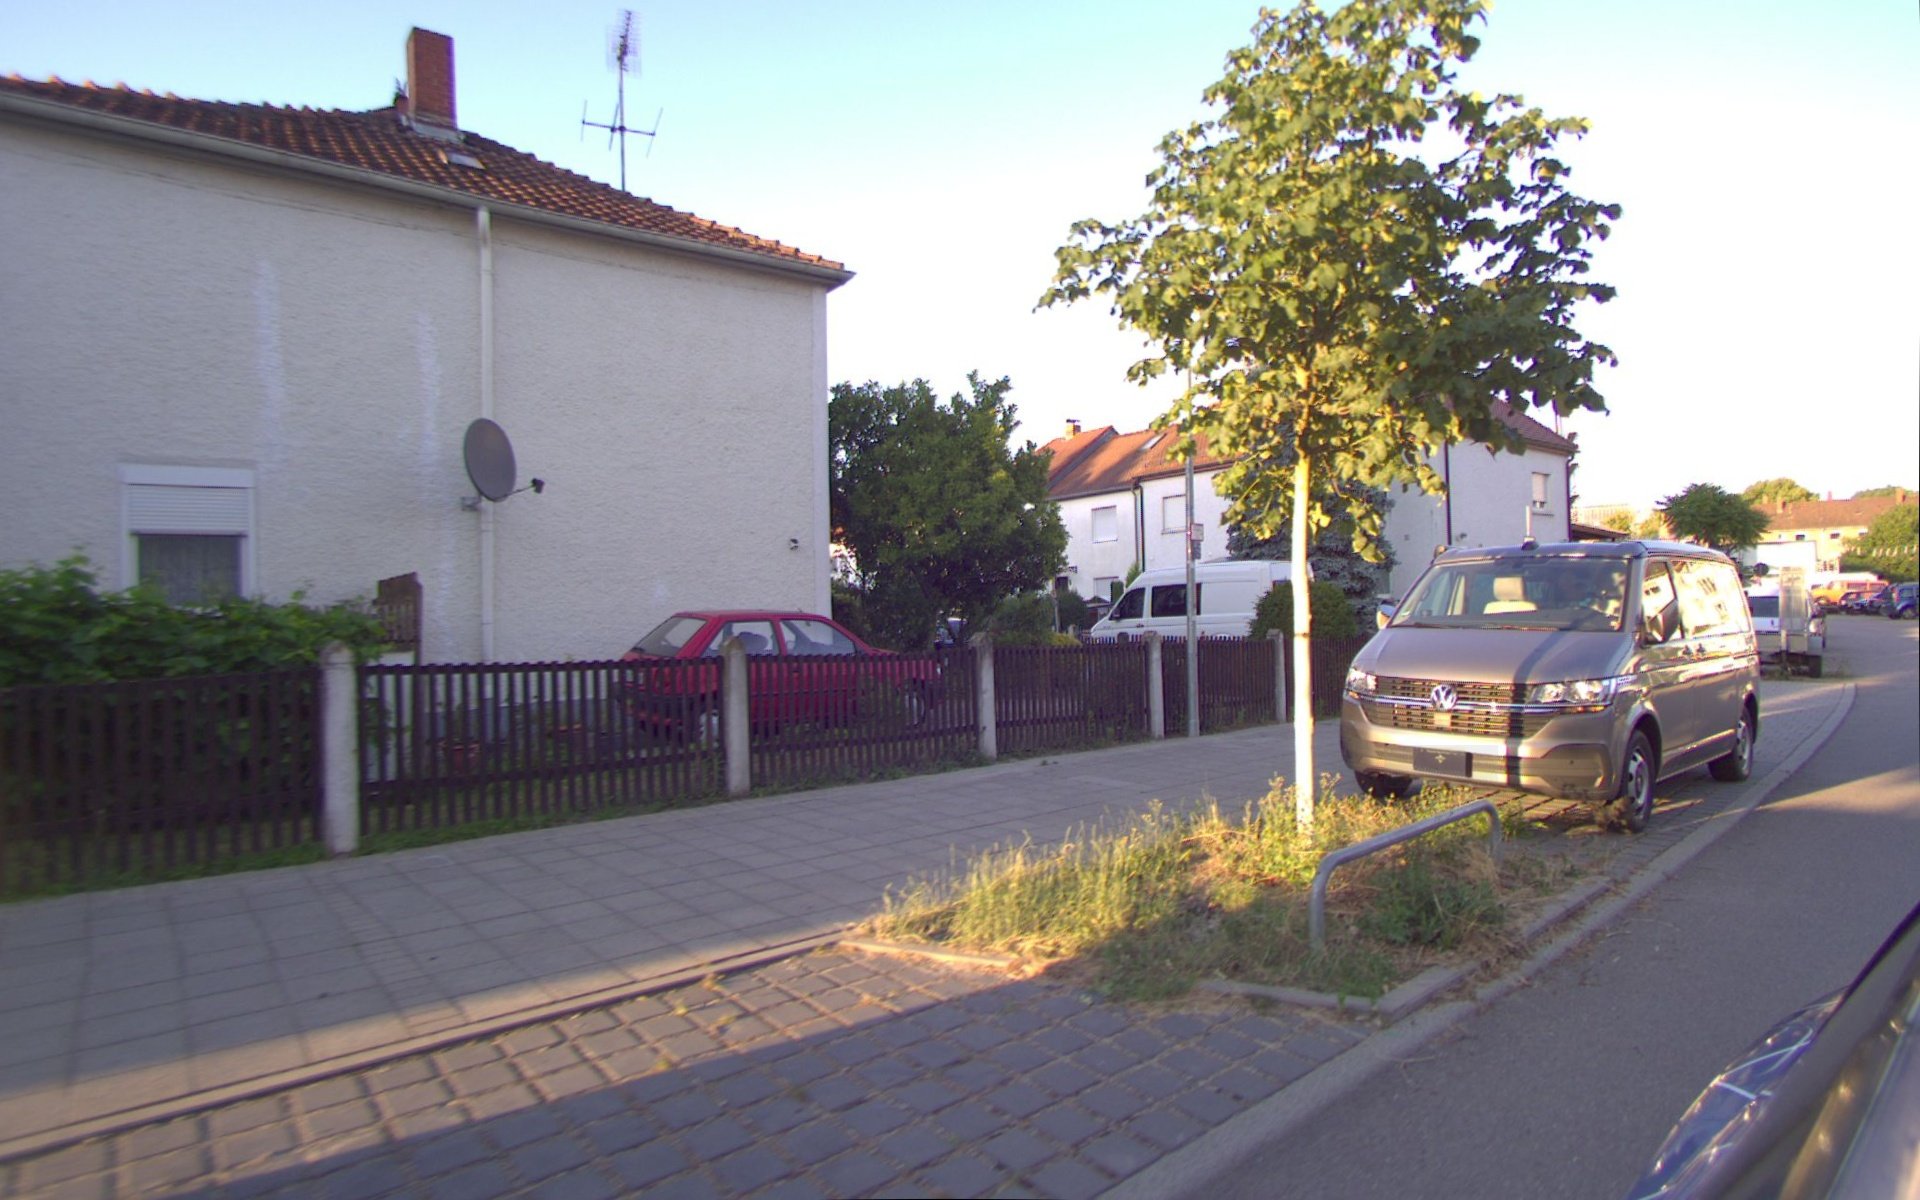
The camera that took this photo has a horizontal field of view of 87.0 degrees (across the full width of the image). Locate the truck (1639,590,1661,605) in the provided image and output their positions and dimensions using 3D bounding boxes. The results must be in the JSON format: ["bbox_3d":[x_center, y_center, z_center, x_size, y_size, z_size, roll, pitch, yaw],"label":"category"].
[{"bbox_3d":[100.270,-0.365,147.106,1.822,2.128,3.711,-4,-2,23],"label":"truck"}]

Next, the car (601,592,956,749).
[{"bbox_3d":[-1.929,0.660,11.210,3.573,1.462,1.532,-1,0,-38],"label":"car"}]

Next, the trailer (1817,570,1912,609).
[{"bbox_3d":[64.944,-0.736,72.771,4.779,2.463,2.106,-4,0,38],"label":"trailer"}]

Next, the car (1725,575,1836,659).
[{"bbox_3d":[19.891,0.356,24.466,1.770,1.854,4.339,-1,0,43],"label":"car"}]

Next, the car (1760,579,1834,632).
[{"bbox_3d":[29.589,0.152,35.878,1.802,1.746,4.862,1,1,37],"label":"car"}]

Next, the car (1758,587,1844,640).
[{"bbox_3d":[26.140,0.382,31.413,1.704,1.538,4.023,-1,0,44],"label":"car"}]

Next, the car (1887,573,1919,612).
[{"bbox_3d":[50.228,-0.474,51.570,3.893,1.936,1.734,-4,-2,23],"label":"car"}]

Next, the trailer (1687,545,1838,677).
[{"bbox_3d":[15.804,0.172,19.821,2.062,2.240,5.145,-1,0,41],"label":"trailer"}]

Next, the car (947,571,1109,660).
[{"bbox_3d":[2.009,0.535,31.826,2.014,2.547,5.579,1,-2,-35],"label":"car"}]

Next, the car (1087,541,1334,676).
[{"bbox_3d":[5.569,0.256,23.348,2.014,2.728,5.579,1,-2,-35],"label":"car"}]

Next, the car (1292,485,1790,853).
[{"bbox_3d":[4.916,0.384,8.221,4.788,2.121,2.068,-1,0,-41],"label":"car"}]

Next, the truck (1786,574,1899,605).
[{"bbox_3d":[65.792,-0.735,75.631,5.987,2.069,2.327,-2,-1,34],"label":"truck"}]

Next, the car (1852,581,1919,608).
[{"bbox_3d":[60.309,-0.352,65.285,4.030,1.640,1.823,-2,-1,40],"label":"car"}]

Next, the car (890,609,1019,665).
[{"bbox_3d":[-0.248,1.099,30.749,1.711,1.496,4.132,-3,1,-38],"label":"car"}]
